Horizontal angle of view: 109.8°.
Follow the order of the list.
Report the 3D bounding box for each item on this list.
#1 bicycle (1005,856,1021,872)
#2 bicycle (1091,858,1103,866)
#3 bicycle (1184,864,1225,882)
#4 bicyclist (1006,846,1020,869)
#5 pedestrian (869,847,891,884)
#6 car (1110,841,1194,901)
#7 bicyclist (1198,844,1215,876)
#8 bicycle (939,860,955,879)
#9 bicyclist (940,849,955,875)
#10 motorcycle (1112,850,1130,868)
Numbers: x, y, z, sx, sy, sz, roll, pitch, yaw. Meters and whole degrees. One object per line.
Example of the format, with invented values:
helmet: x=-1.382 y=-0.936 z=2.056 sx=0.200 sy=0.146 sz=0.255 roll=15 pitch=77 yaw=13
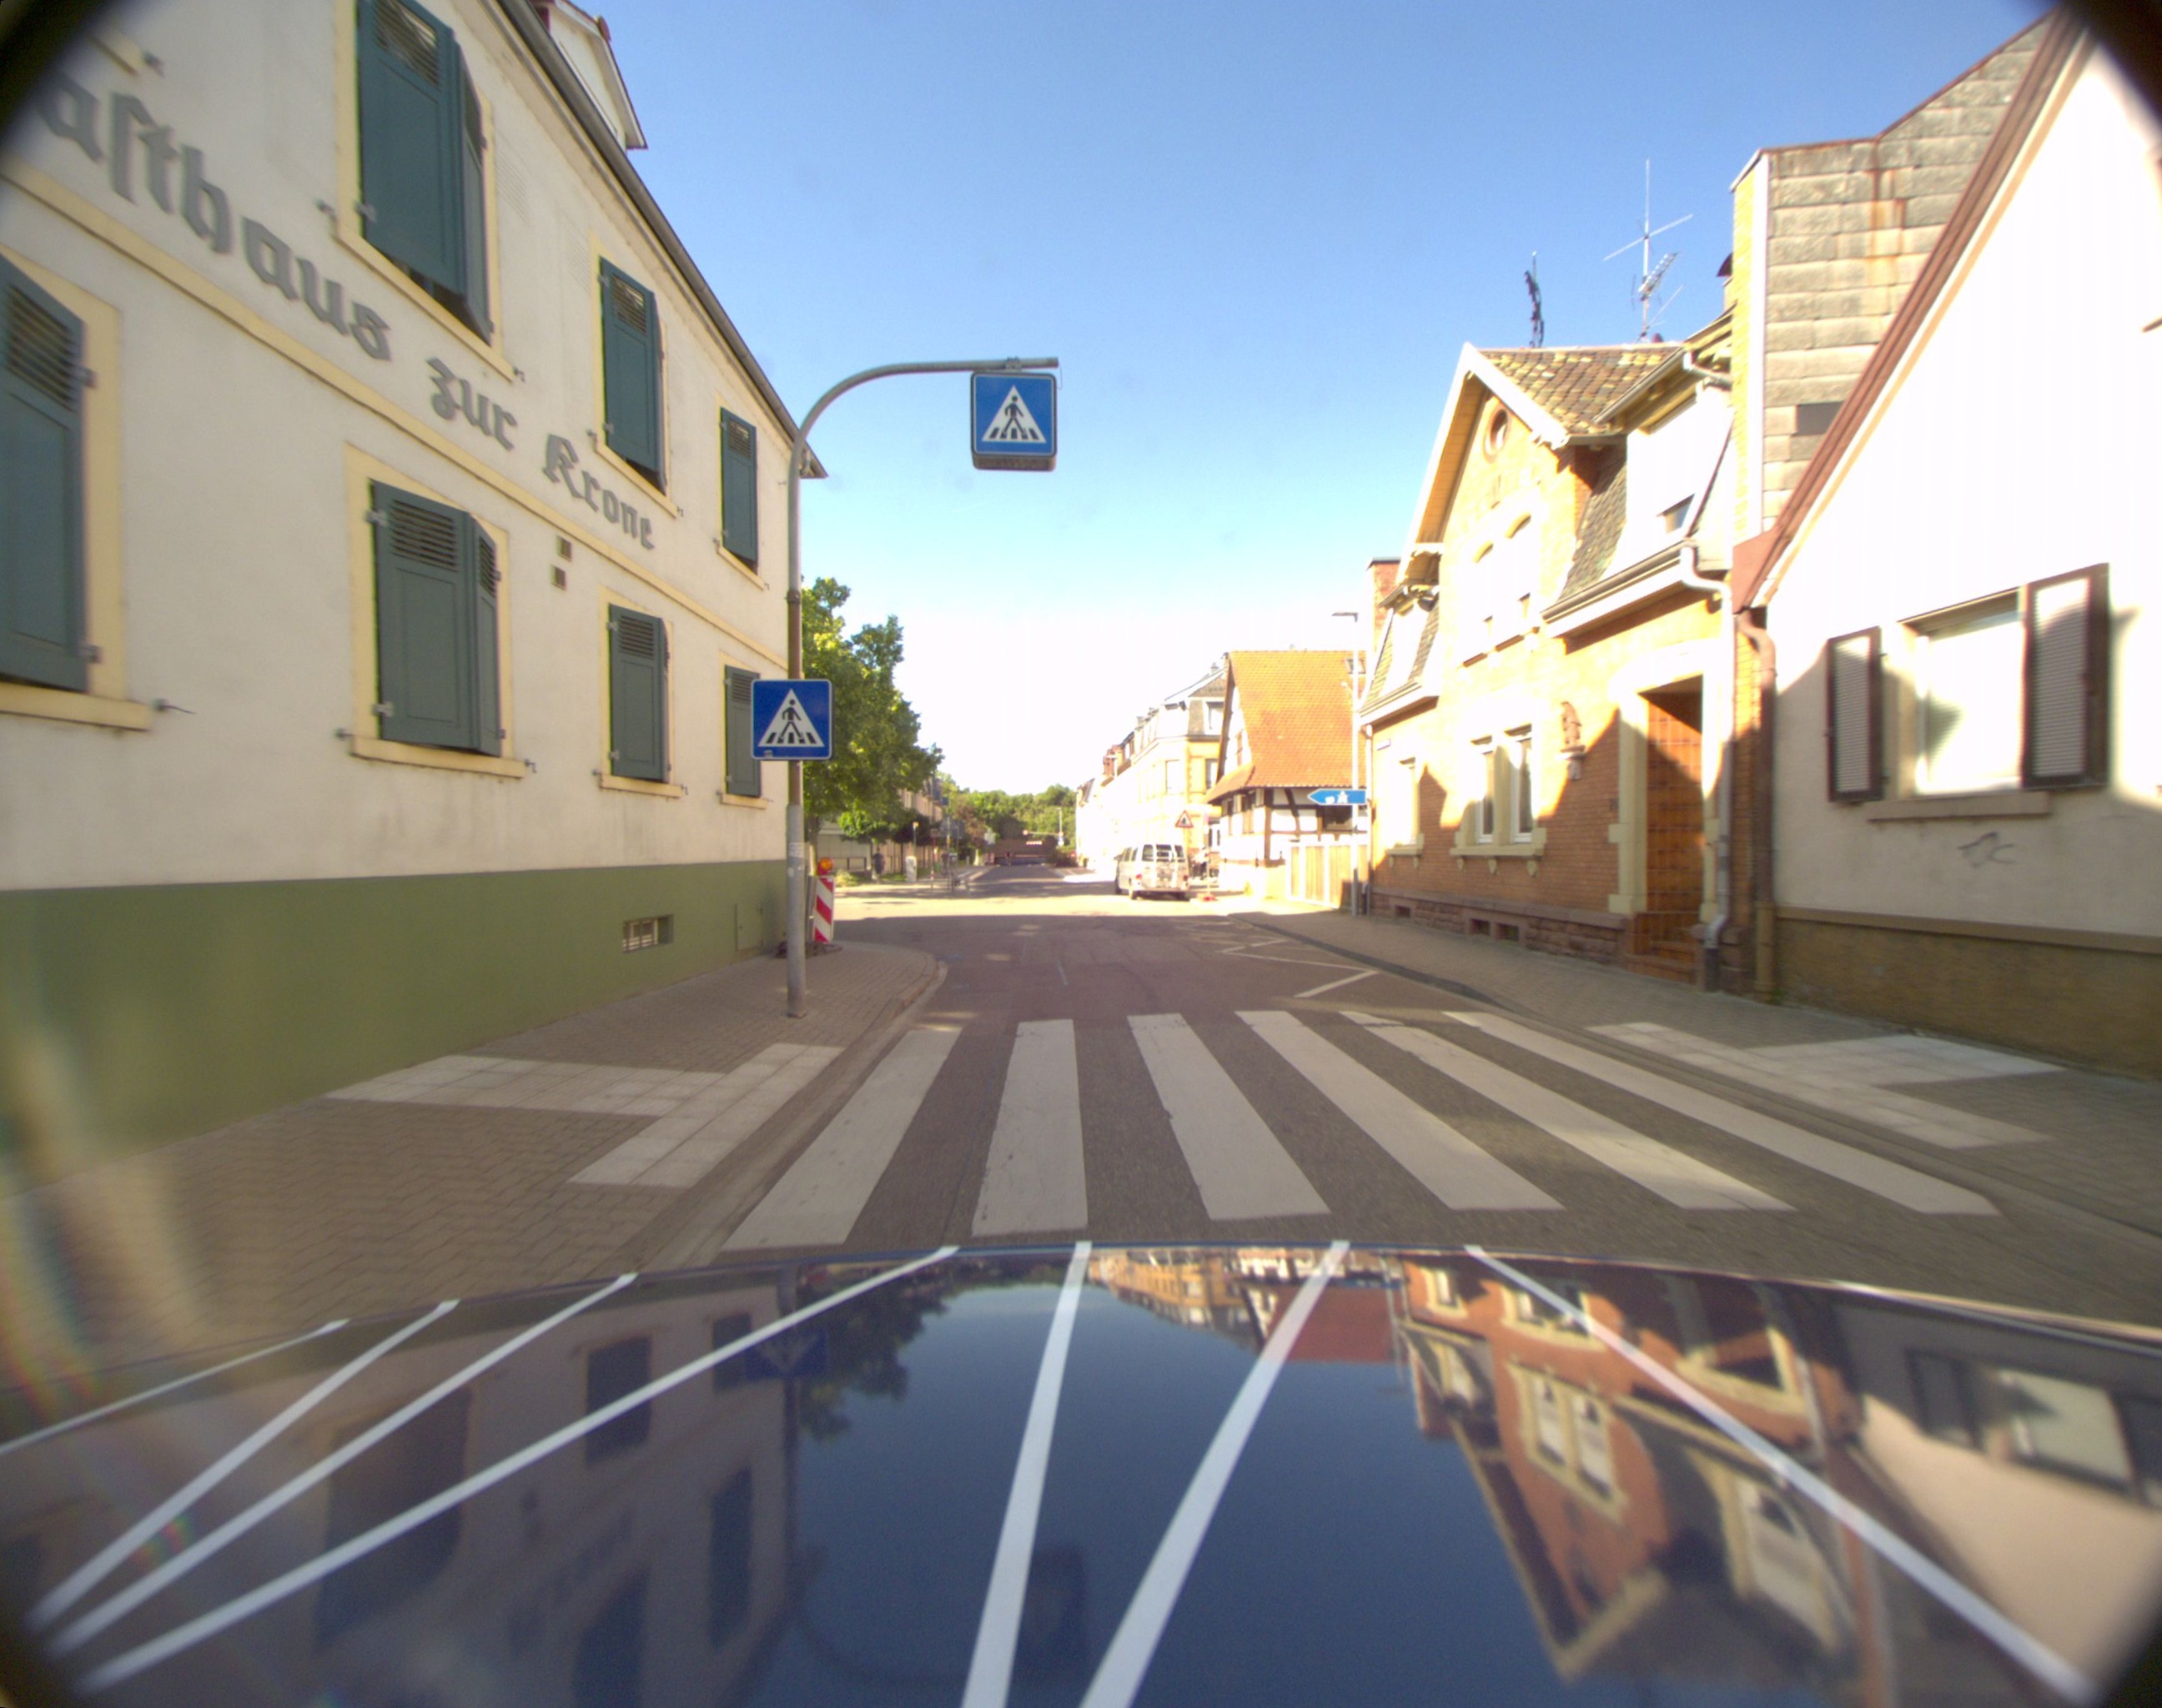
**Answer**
bicycle: x=-7.254 y=1.075 z=81.681 sx=1.257 sy=1.543 sz=3.999 roll=-3 pitch=1 yaw=1
bicycle: x=1.263 y=0.632 z=61.050 sx=0.383 sy=0.606 sz=1.344 roll=-2 pitch=1 yaw=26
bicycle: x=6.131 y=0.958 z=37.709 sx=1.911 sy=0.774 sz=0.624 roll=-3 pitch=1 yaw=0
bicyclist: x=-7.300 y=0.366 z=81.807 sx=1.257 sy=2.295 sz=1.242 roll=-3 pitch=2 yaw=1
pedestrian: x=-9.595 y=0.540 z=36.279 sx=0.659 sy=1.707 sz=0.828 roll=-1 pitch=1 yaw=10
car: x=2.331 y=0.507 z=26.173 sx=1.881 sy=1.870 sz=4.832 roll=1 pitch=1 yaw=-7
bicyclist: x=6.222 y=0.279 z=37.688 sx=0.654 sy=1.524 sz=0.610 roll=-3 pitch=2 yaw=0
bicycle: x=-8.088 y=0.906 z=45.878 sx=0.669 sy=1.058 sz=1.816 roll=3 pitch=1 yaw=-1
bicyclist: x=-8.068 y=0.480 z=45.916 sx=0.669 sy=1.530 sz=0.914 roll=3 pitch=1 yaw=-1
motorcycle: x=3.057 y=0.379 z=58.339 sx=0.848 sy=1.245 sz=2.255 roll=-3 pitch=1 yaw=-8
